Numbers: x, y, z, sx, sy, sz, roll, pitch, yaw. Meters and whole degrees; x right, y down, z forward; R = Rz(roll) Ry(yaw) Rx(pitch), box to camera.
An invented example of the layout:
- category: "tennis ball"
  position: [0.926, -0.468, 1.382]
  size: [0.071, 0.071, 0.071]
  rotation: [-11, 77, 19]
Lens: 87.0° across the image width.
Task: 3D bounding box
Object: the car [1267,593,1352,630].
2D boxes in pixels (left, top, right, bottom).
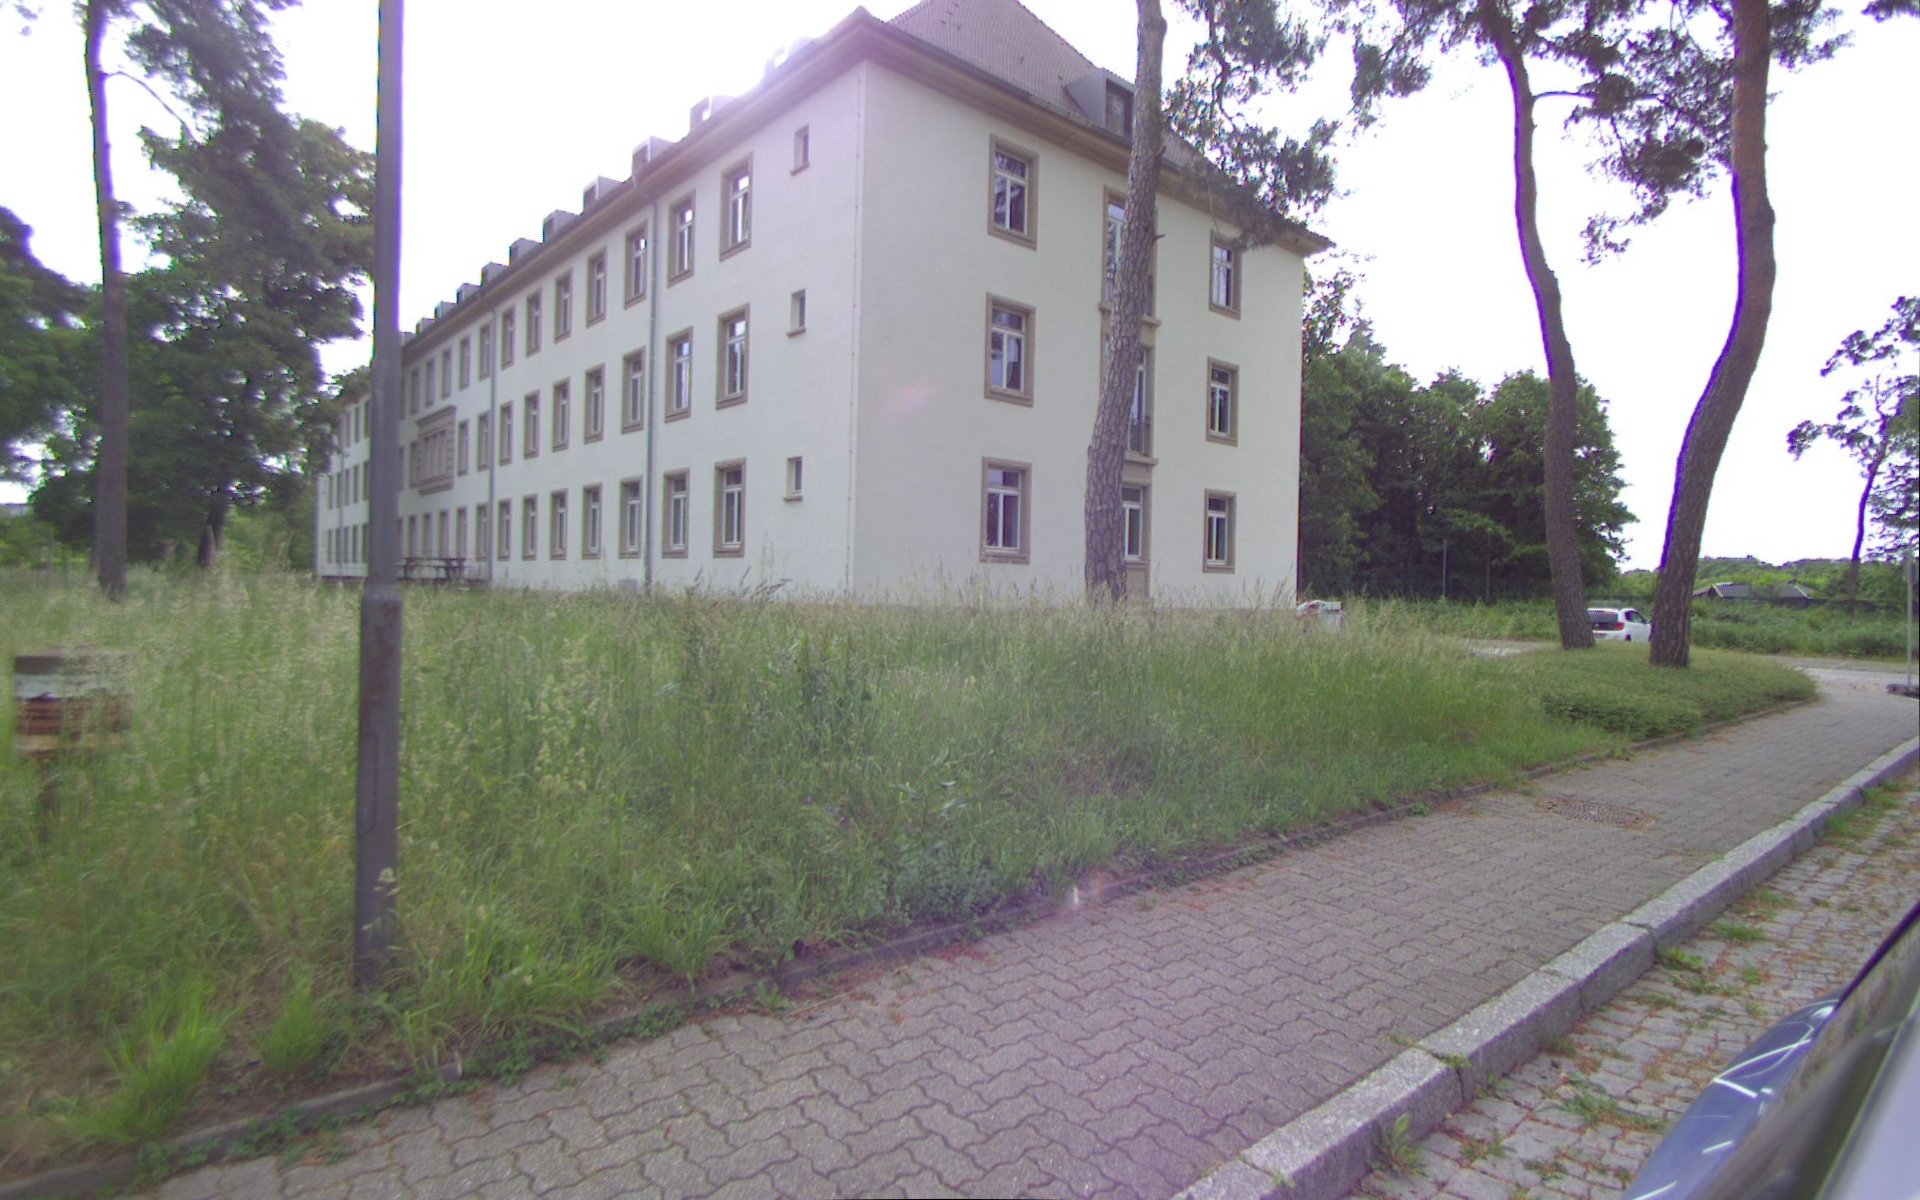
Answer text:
- category: "car"
  position: [14.642, 0.452, 42.325]
  size: [3.931, 1.345, 1.640]
  rotation: [-2, 2, -41]

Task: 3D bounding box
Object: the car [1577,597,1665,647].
- category: "car"
  position: [22.144, 0.693, 33.882]
  size: [3.221, 1.451, 1.640]
  rotation: [-2, 3, -41]
